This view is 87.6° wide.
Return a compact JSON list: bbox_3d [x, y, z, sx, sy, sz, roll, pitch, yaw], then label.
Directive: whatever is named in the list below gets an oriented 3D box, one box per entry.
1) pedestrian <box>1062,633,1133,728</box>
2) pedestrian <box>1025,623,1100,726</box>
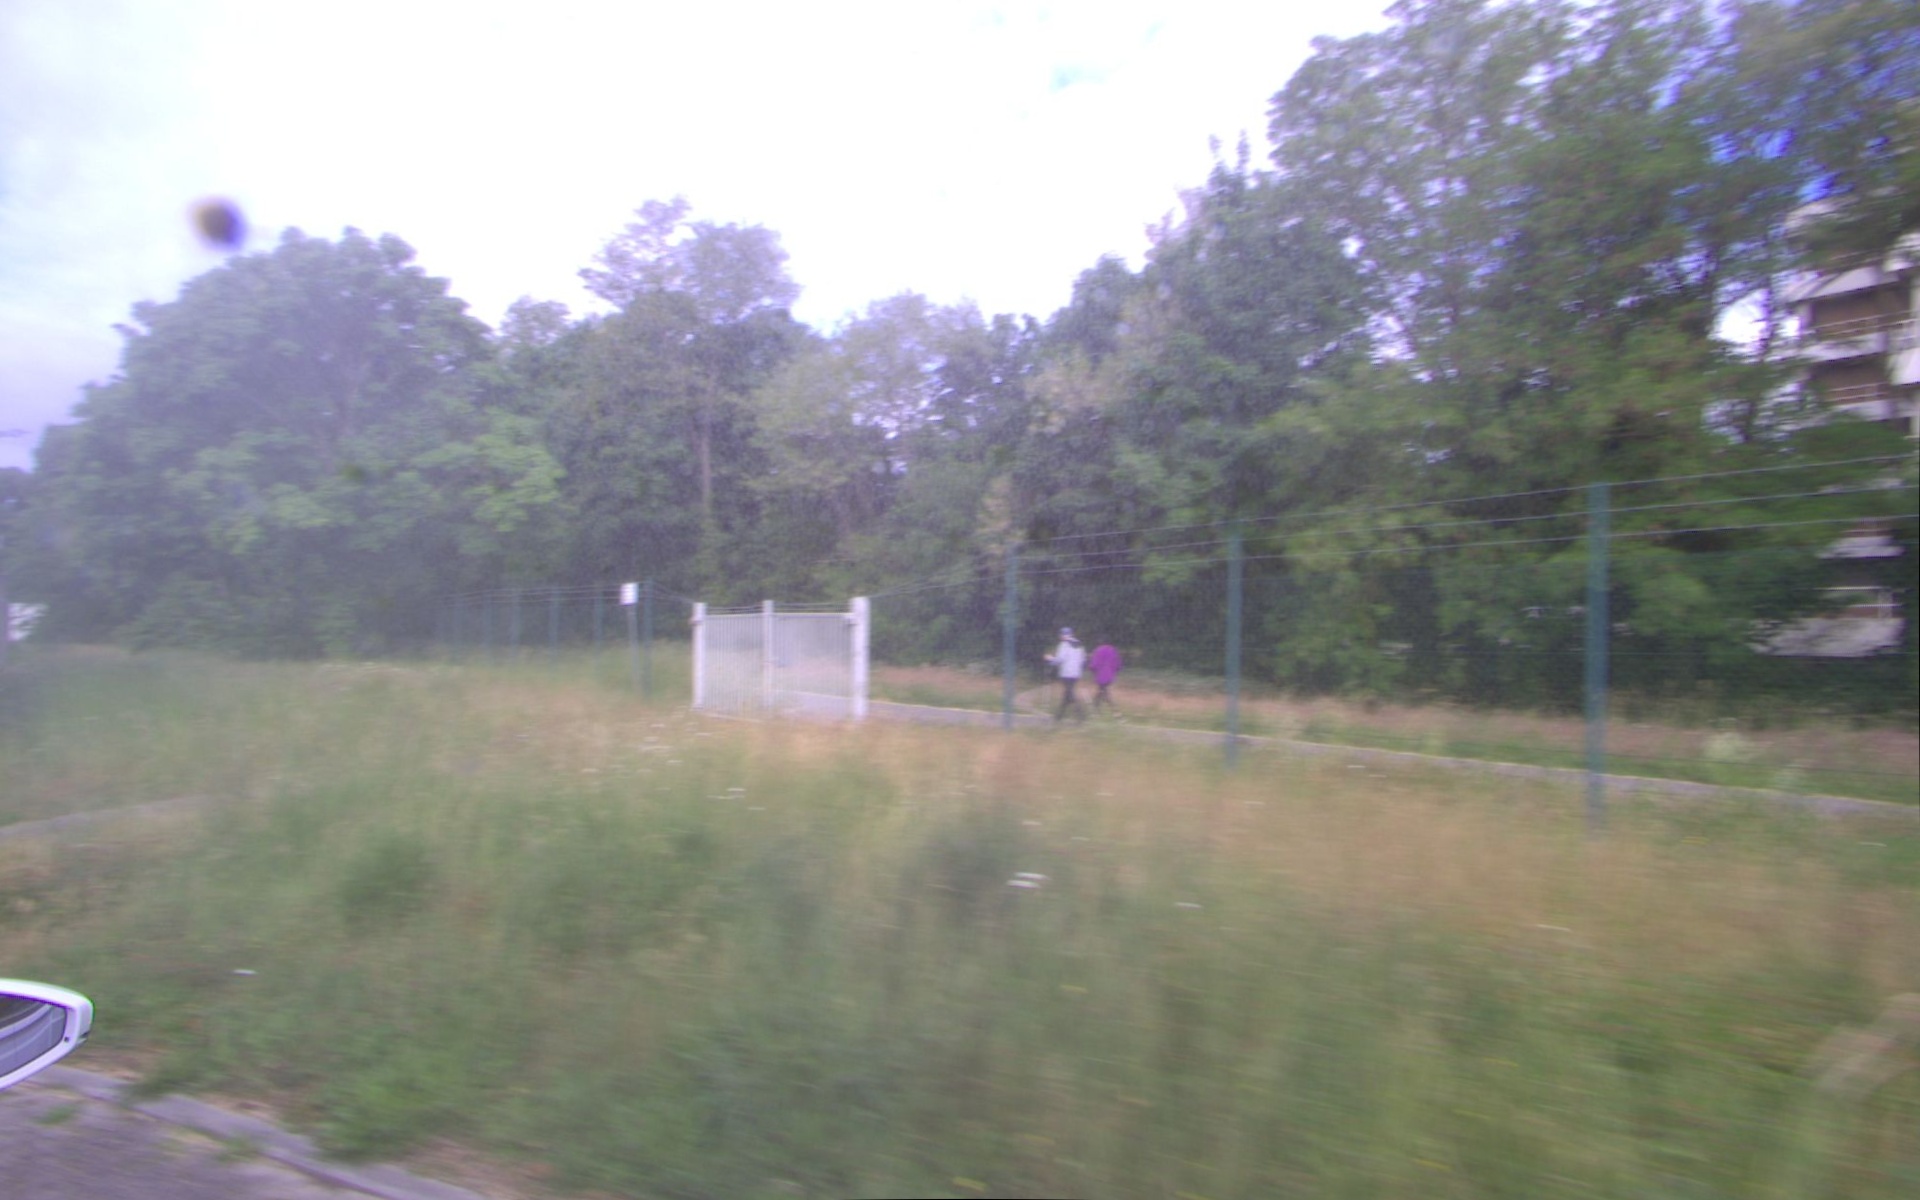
[{"bbox_3d":[2.394,1.374,17.478,0.728,1.594,1.027,1,-1,-37],"label":"pedestrian"},{"bbox_3d":[1.761,1.254,17.294,0.833,1.704,1.031,1,-1,-34],"label":"pedestrian"}]
